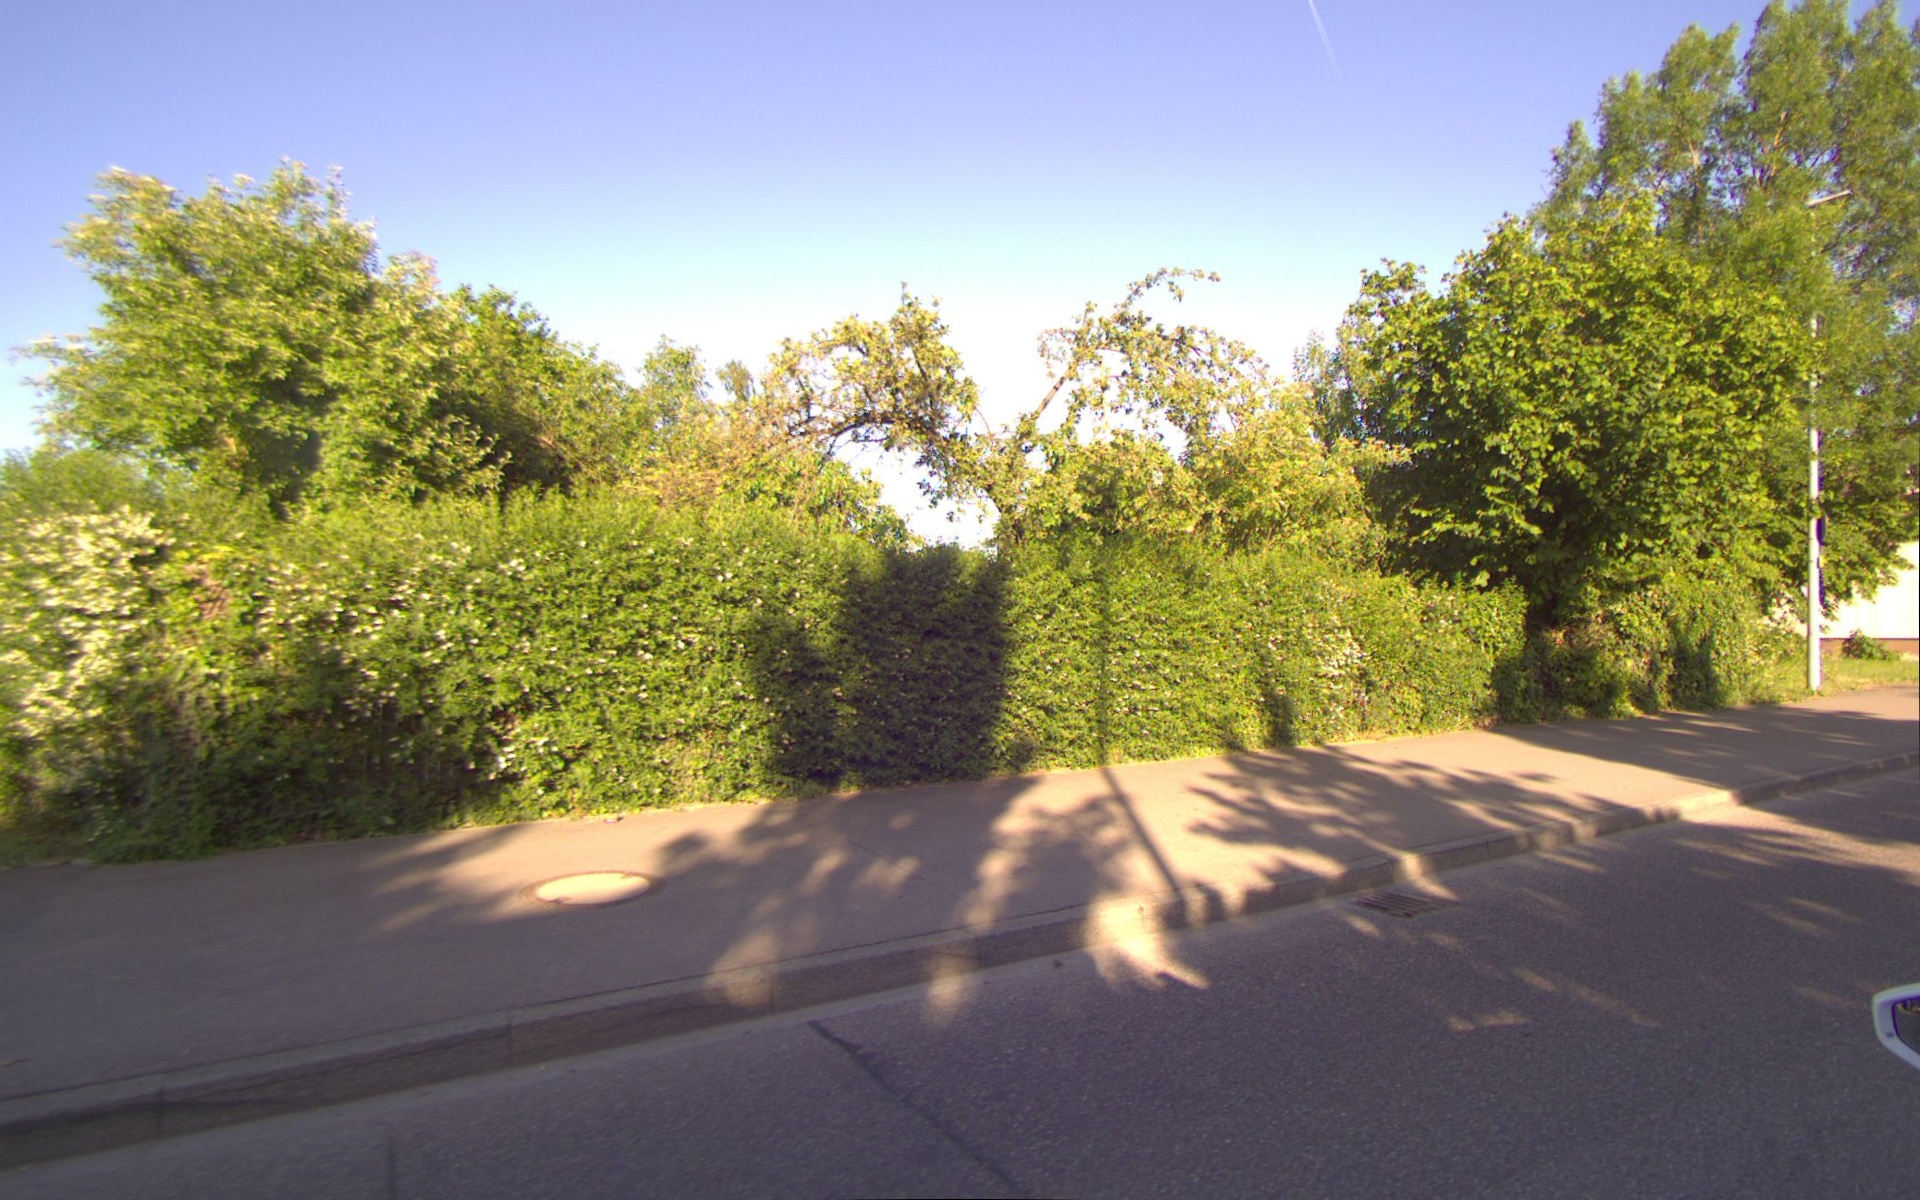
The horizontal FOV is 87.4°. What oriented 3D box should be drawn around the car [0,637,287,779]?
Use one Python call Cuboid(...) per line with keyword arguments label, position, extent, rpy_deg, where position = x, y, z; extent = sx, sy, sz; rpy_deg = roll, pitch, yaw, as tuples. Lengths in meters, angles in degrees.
Cuboid(label="car", position=(-10.583, 1.217, 12.559), extent=(1.612, 1.454, 4.205), rpy_deg=(2, -3, -3))
